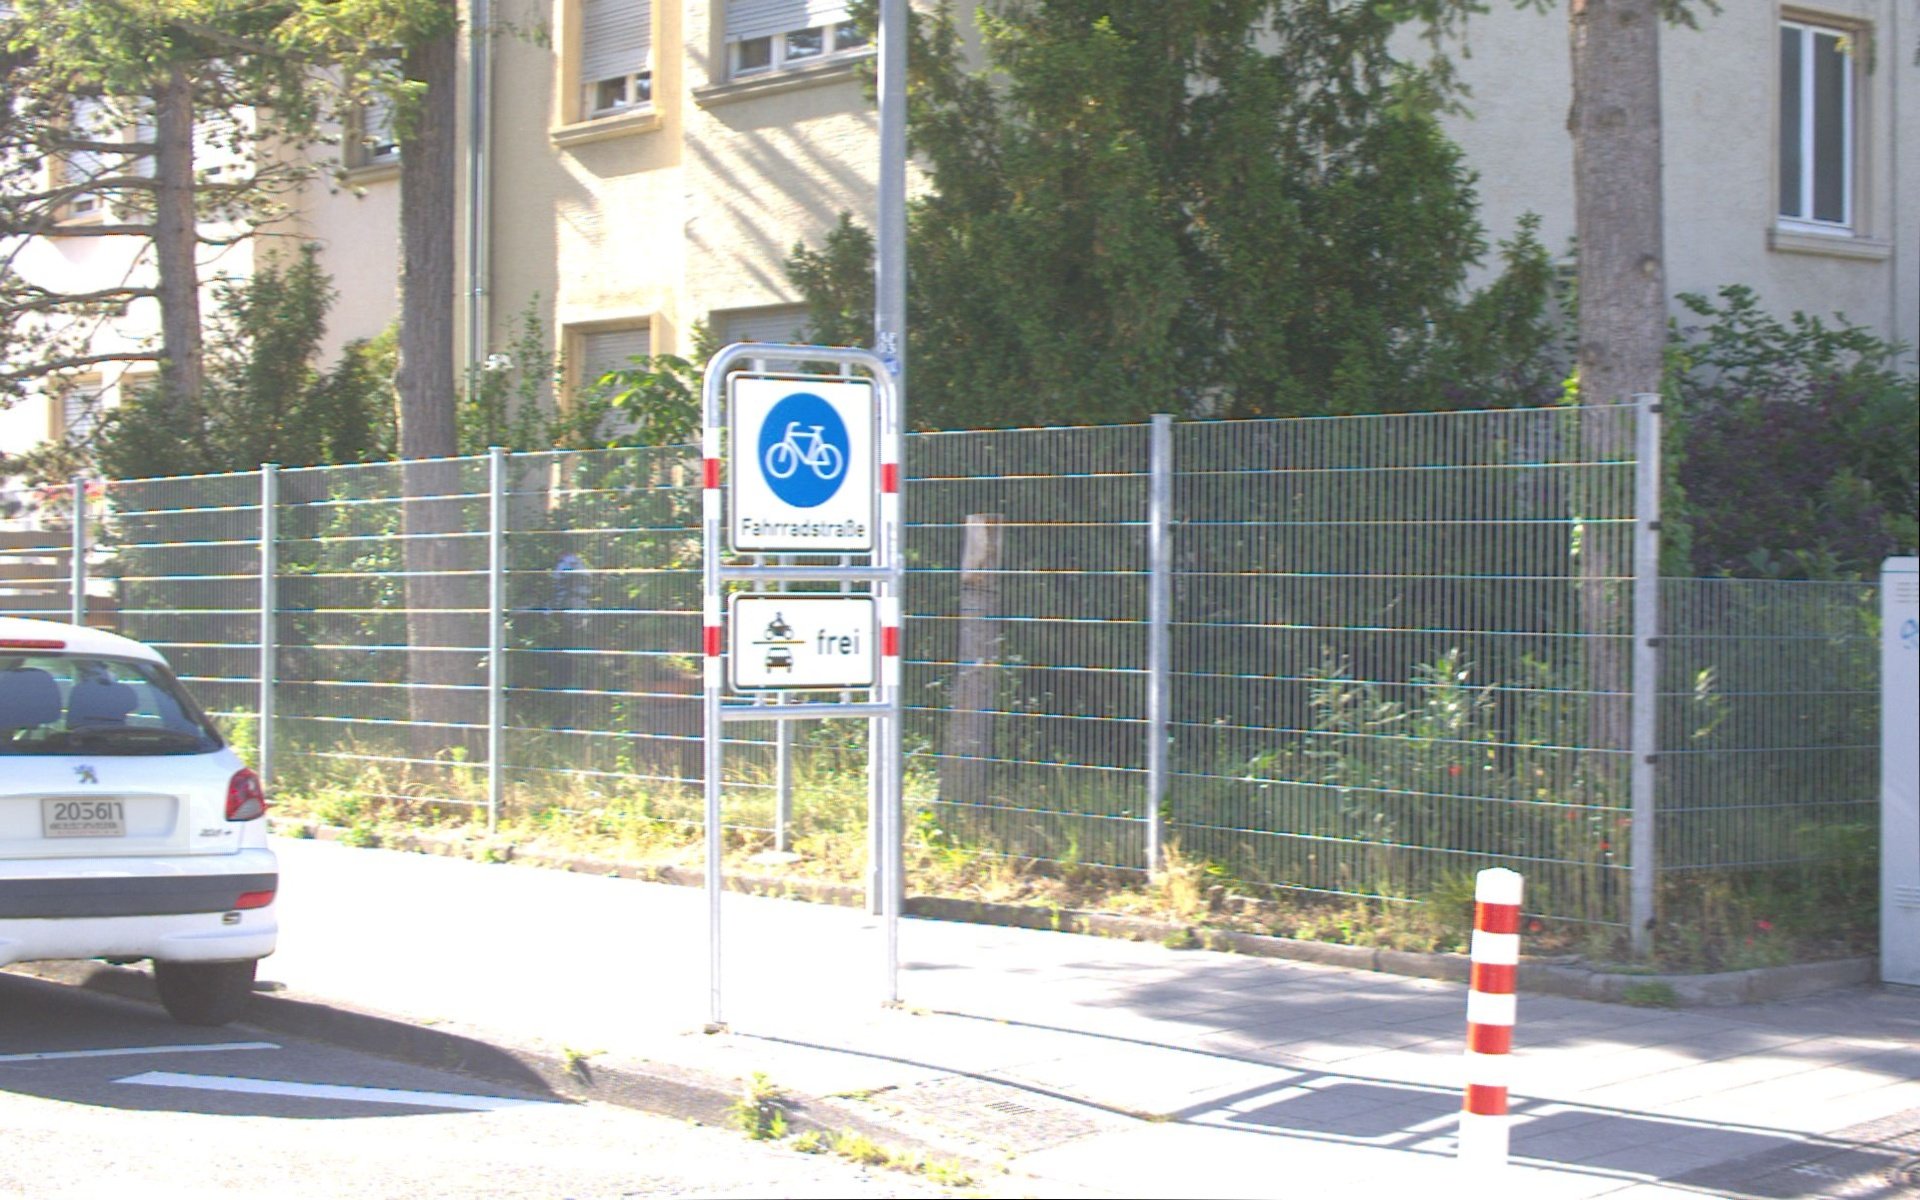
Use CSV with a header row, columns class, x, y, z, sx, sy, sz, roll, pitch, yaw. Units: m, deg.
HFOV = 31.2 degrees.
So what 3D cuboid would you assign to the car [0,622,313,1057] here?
class,x,y,z,sx,sy,sz,roll,pitch,yaw
car,-4.094,0.774,12.754,1.702,1.393,3.775,1,-1,-39
